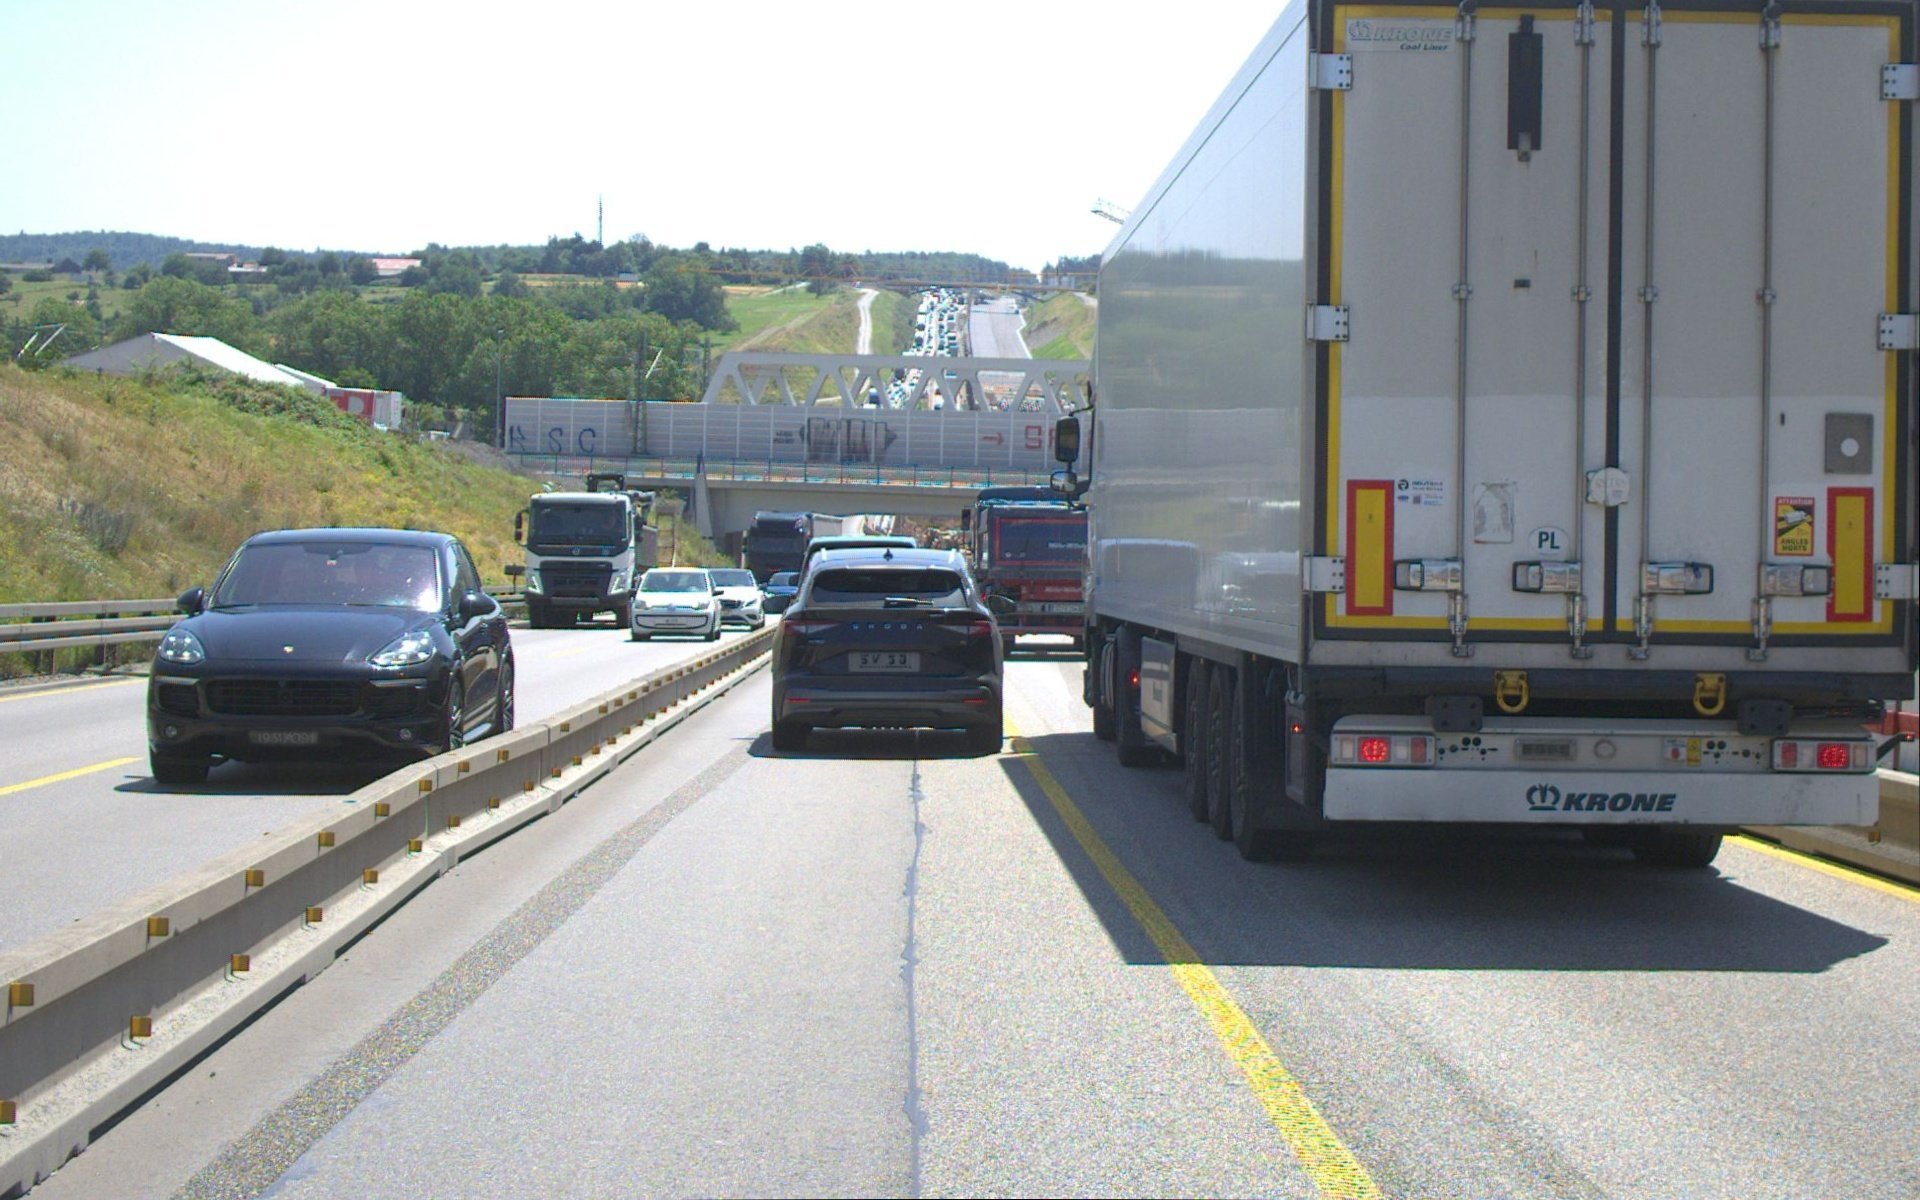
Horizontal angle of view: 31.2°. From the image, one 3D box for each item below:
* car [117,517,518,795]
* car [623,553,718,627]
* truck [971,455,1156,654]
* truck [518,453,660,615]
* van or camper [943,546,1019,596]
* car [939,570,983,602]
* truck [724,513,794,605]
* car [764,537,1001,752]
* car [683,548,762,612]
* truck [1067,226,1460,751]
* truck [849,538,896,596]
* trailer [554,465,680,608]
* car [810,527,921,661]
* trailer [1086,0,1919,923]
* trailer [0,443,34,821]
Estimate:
[{"bbox_3d":[-4.231,0.314,23.364,1.891,1.702,4.561,0,1,0],"label":"car"},{"bbox_3d":[-5.698,-0.213,67.896,1.684,1.425,3.293,0,1,-2],"label":"car"},{"bbox_3d":[1.658,-0.800,60.793,2.814,3.124,12.838,1,1,0],"label":"truck"},{"bbox_3d":[-8.973,-1.584,84.124,2.587,3.710,9.333,0,1,-1],"label":"truck"},{"bbox_3d":[1.495,-2.138,250.802,3.942,3.408,8.409,1,1,-11],"label":"van or camper"},{"bbox_3d":[0.033,-0.545,132.488,1.538,1.202,3.311,0,1,-3],"label":"car"},{"bbox_3d":[-8.696,-1.760,149.078,2.767,3.871,4.964,1,1,-1],"label":"truck"},{"bbox_3d":[-0.618,0.307,27.758,1.800,1.615,3.298,0,1,-1],"label":"car"},{"bbox_3d":[-5.475,-0.477,79.561,1.684,1.425,4.123,0,1,-2],"label":"car"},{"bbox_3d":[2.431,-0.888,29.132,2.776,4.044,4.905,1,0,-1],"label":"truck"},{"bbox_3d":[-4.444,-1.692,175.507,2.268,2.872,5.851,1,0,-1],"label":"truck"},{"bbox_3d":[-9.101,-1.680,92.069,2.587,3.624,9.079,0,1,-1],"label":"trailer"},{"bbox_3d":[-1.284,-0.106,47.912,1.475,1.789,3.298,1,1,-1],"label":"car"},{"bbox_3d":[2.583,-0.761,21.283,2.801,4.044,14.117,1,1,-1],"label":"trailer"},{"bbox_3d":[-5.872,0.189,17.025,1.646,2.019,4.271,0,1,-3],"label":"trailer"}]
